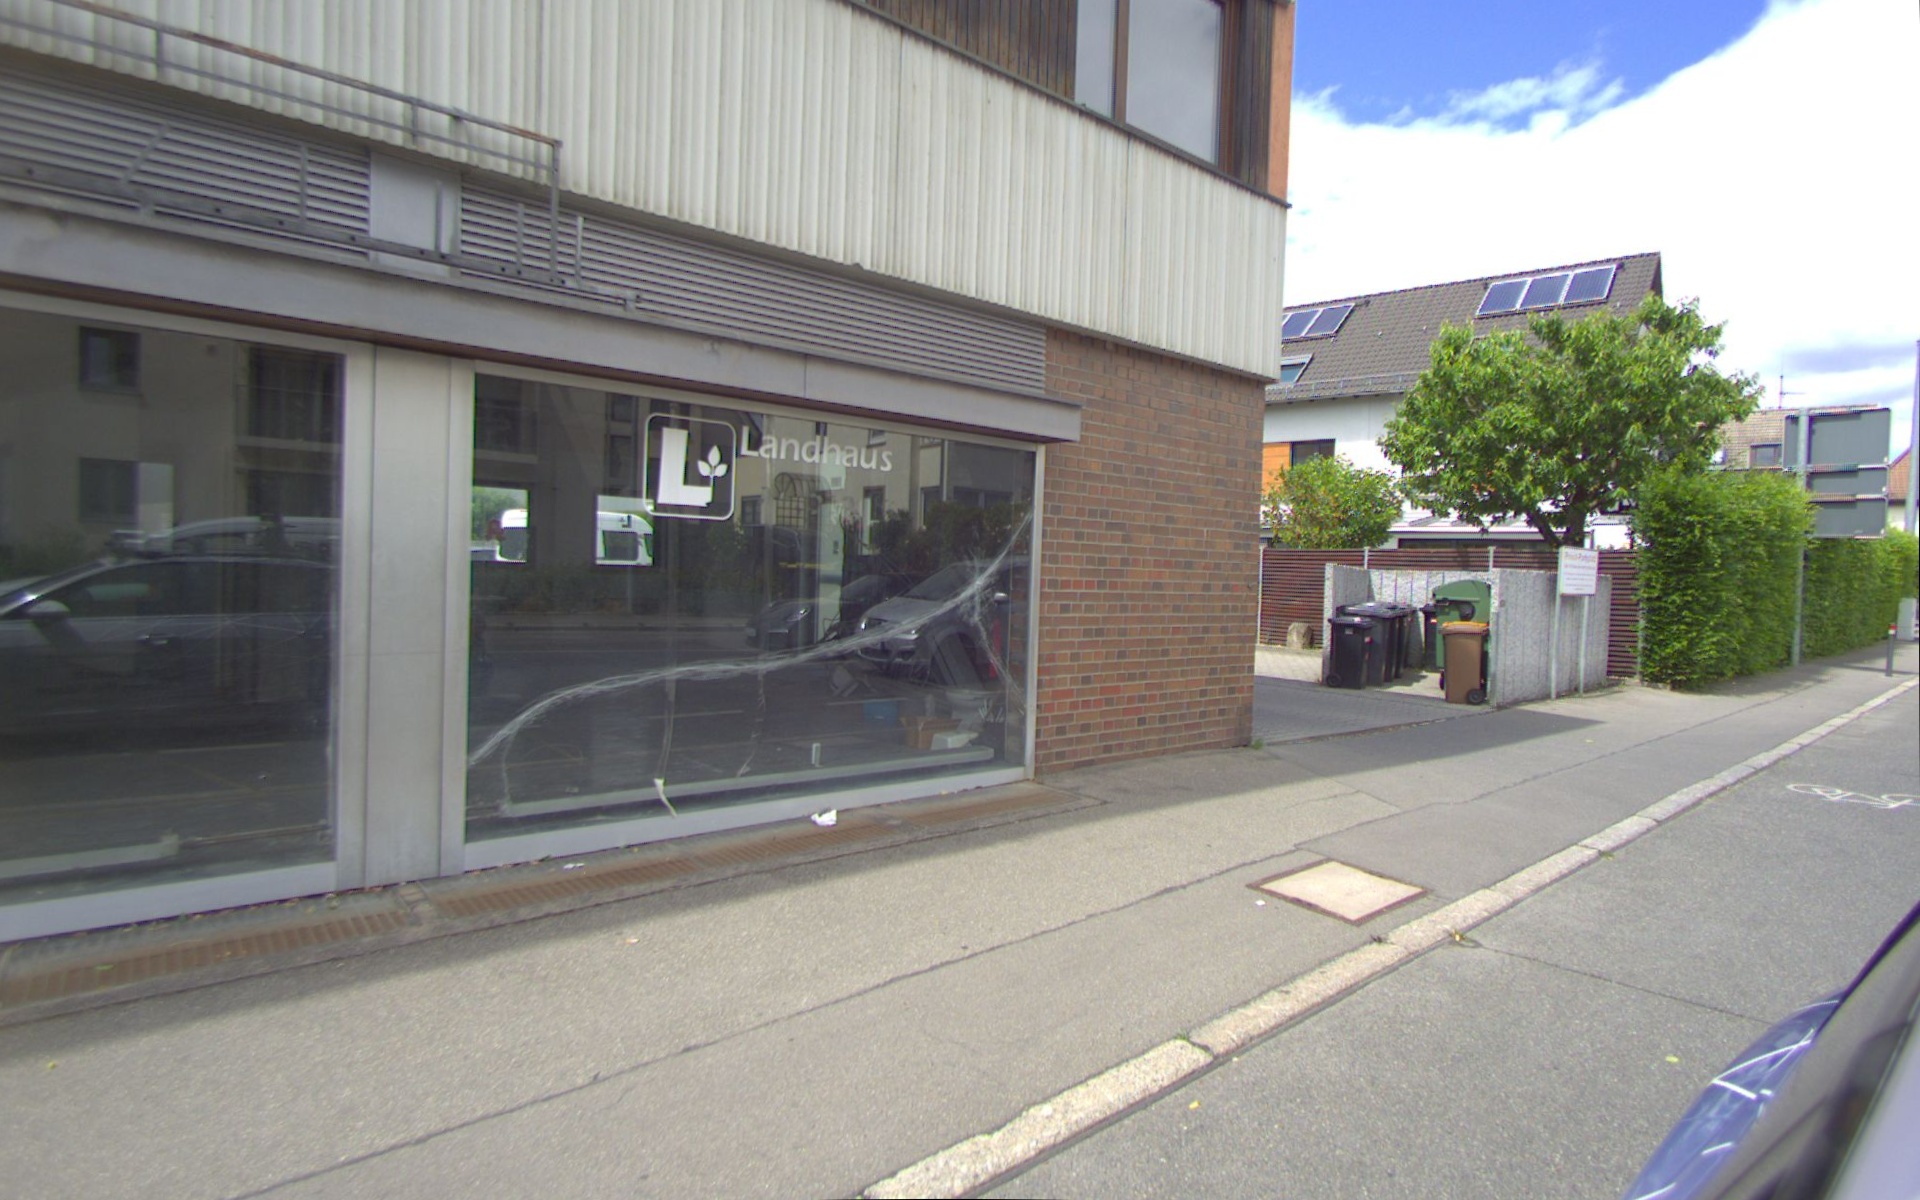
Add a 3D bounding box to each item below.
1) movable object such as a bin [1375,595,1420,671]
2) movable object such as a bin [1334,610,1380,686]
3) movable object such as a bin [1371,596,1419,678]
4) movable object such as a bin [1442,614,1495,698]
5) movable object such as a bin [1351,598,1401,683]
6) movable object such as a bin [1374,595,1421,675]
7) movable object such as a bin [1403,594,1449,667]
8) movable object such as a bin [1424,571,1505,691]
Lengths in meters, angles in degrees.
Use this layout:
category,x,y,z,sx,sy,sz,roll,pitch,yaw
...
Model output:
category,x,y,z,sx,sy,sz,roll,pitch,yaw
movable object such as a bin,6.451,0.473,14.926,0.590,1.088,0.485,1,1,25
movable object such as a bin,5.178,0.614,13.198,0.513,0.933,0.475,1,1,25
movable object such as a bin,6.014,0.503,13.977,0.590,1.088,0.485,1,1,25
movable object such as a bin,5.996,0.649,11.927,0.514,0.933,0.474,1,1,31
movable object such as a bin,5.593,0.527,13.592,0.590,1.088,0.485,1,1,25
movable object such as a bin,6.239,0.488,14.414,0.590,1.088,0.485,1,1,25
movable object such as a bin,7.157,0.455,15.538,0.591,1.088,0.484,1,1,30
movable object such as a bin,6.414,0.373,12.877,0.471,1.472,0.808,0,1,-45
